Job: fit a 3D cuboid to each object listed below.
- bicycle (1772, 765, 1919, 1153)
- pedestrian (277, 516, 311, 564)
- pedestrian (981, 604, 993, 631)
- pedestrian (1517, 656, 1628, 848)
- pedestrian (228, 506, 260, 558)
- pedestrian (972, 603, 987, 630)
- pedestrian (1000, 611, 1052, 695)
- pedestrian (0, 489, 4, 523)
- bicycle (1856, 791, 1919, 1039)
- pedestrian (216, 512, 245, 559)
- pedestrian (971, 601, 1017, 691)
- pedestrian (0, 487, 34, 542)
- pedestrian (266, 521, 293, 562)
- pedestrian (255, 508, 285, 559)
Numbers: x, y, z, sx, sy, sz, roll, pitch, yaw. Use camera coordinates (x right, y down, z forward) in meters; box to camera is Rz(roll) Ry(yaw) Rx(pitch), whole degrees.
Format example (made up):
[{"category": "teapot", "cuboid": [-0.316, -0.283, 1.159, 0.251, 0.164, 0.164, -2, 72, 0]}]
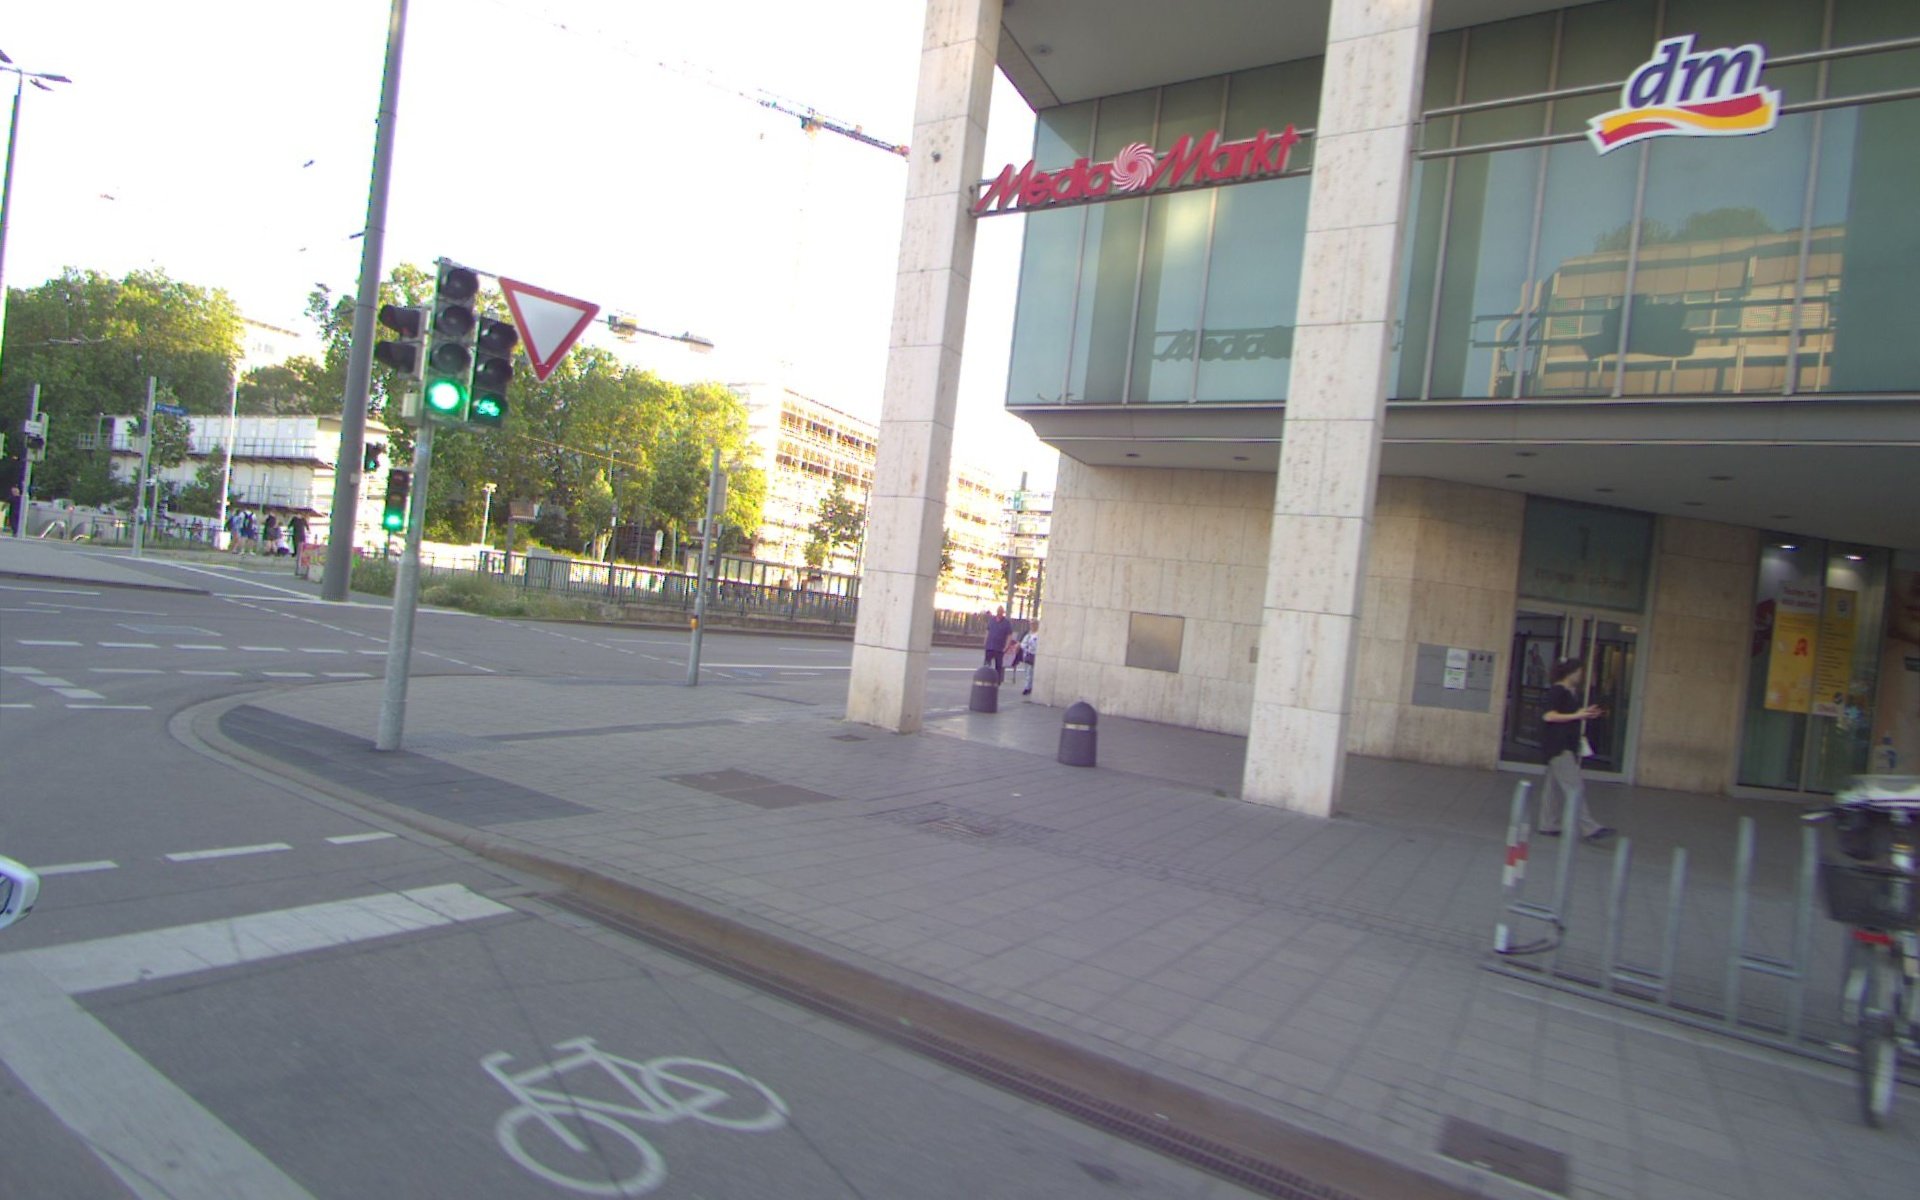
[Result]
[{"category": "bicycle", "cuboid": [3.750, 1.353, 4.065, 0.540, 1.198, 1.479, 7, 0, 36]}, {"category": "pedestrian", "cuboid": [-25.693, -2.321, 38.818, 0.657, 1.746, 0.712, 7, 0, 30]}, {"category": "pedestrian", "cuboid": [1.812, 1.164, 66.968, 0.396, 1.690, 0.448, 7, 1, 38]}, {"category": "pedestrian", "cuboid": [5.840, 1.413, 9.581, 0.697, 1.658, 0.791, 7, 0, 36]}, {"category": "pedestrian", "cuboid": [-25.578, -2.439, 35.952, 0.708, 1.746, 0.660, 6, 0, -44]}, {"category": "pedestrian", "cuboid": [1.301, 1.125, 67.343, 0.657, 1.690, 0.574, 7, 0, 37]}, {"category": "pedestrian", "cuboid": [1.324, 1.056, 20.076, 0.712, 1.565, 0.668, 7, 0, 20]}, {"category": "pedestrian", "cuboid": [-32.883, -2.935, 33.963, 0.700, 1.756, 0.837, 6, 0, -42]}, {"category": "bicycle", "cuboid": [4.747, 1.544, 4.509, 0.474, 1.091, 1.773, 7, 0, 24]}, {"category": "pedestrian", "cuboid": [-26.535, -2.355, 36.572, 0.527, 1.612, 0.571, 7, 0, 32]}, {"category": "pedestrian", "cuboid": [0.701, 0.940, 20.476, 0.579, 1.746, 0.668, 7, 0, 20]}, {"category": "pedestrian", "cuboid": [-33.272, -2.997, 35.441, 0.790, 1.813, 0.803, 7, 0, 44]}, {"category": "pedestrian", "cuboid": [-25.338, -2.179, 37.459, 0.672, 1.458, 0.707, 6, 0, -36]}, {"category": "pedestrian", "cuboid": [-25.084, -2.420, 36.567, 0.708, 1.746, 0.661, 6, 0, -41]}]
